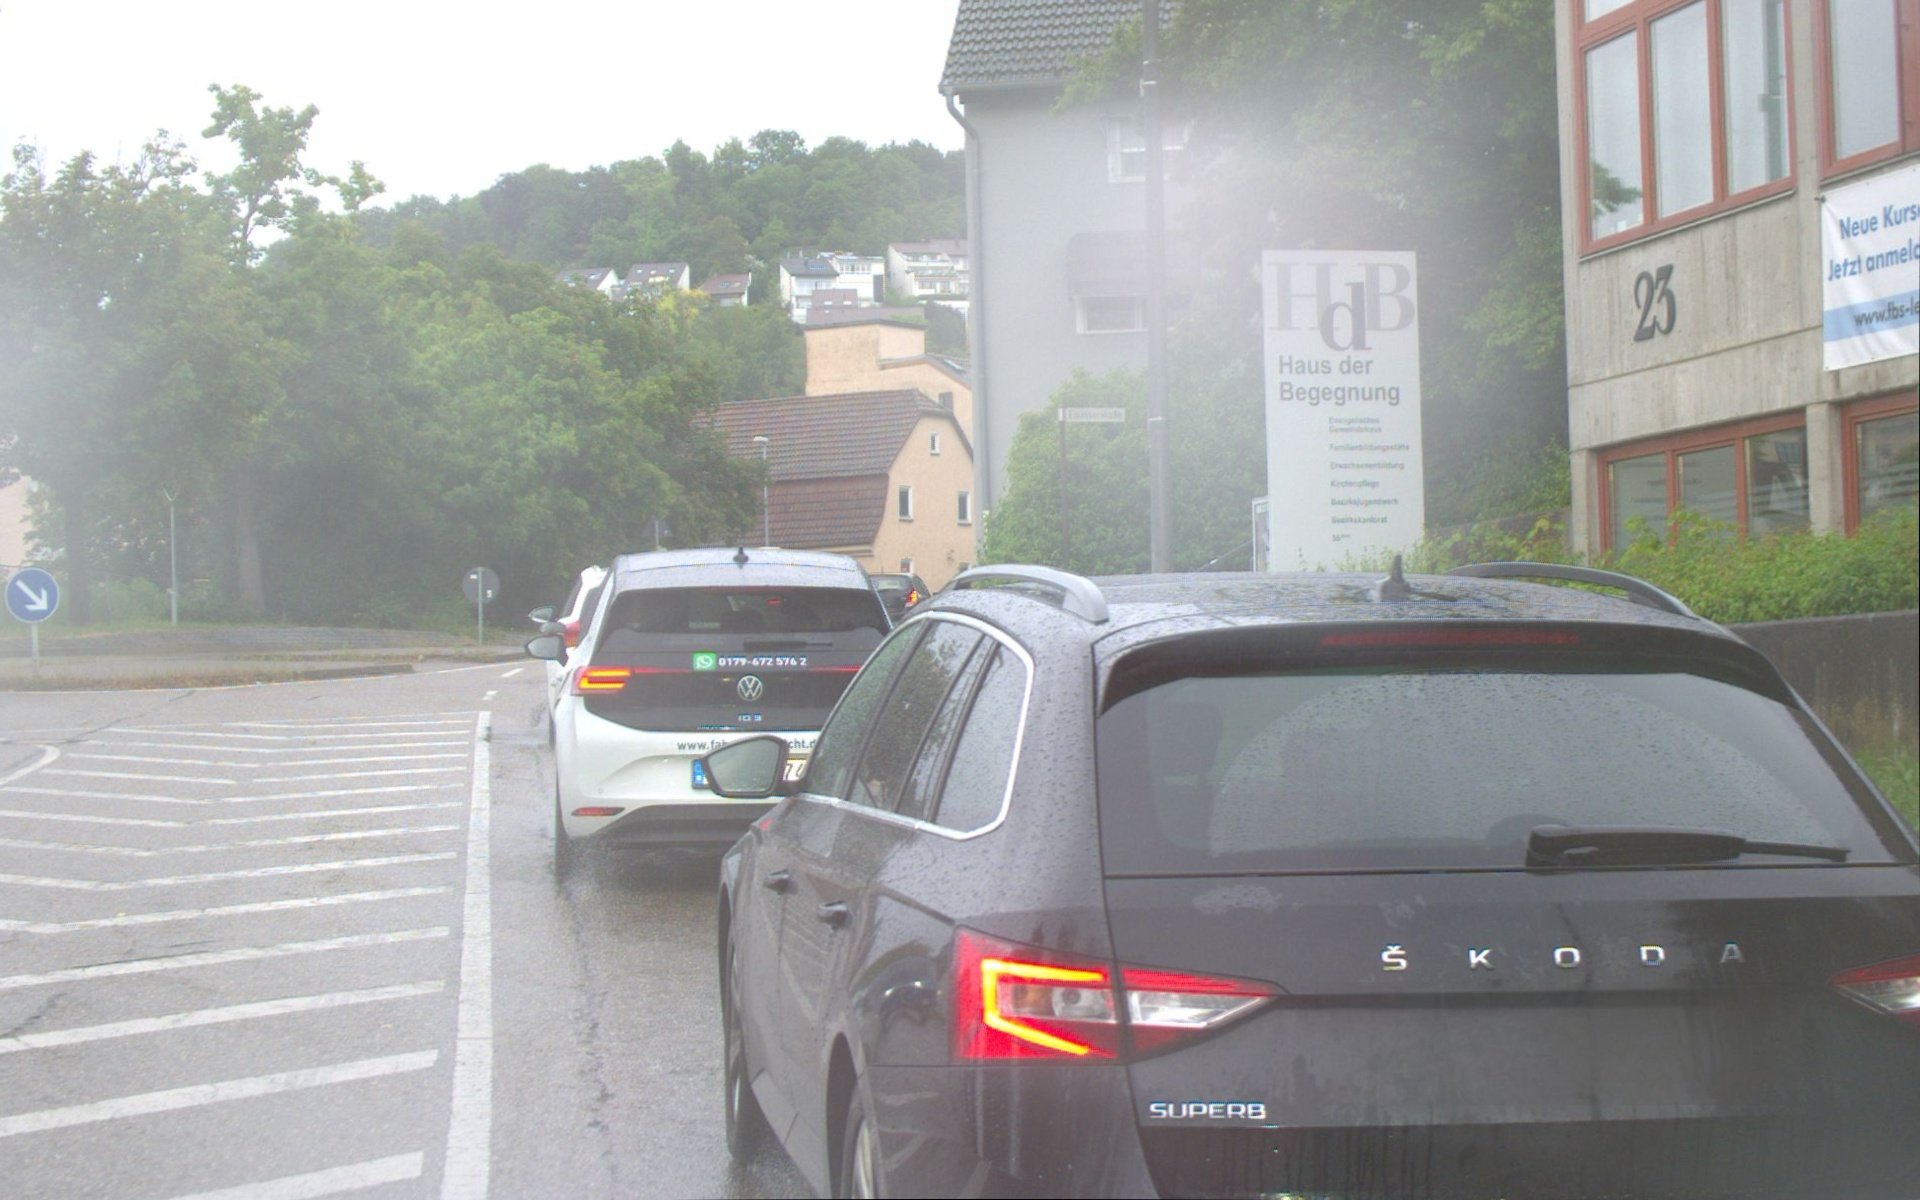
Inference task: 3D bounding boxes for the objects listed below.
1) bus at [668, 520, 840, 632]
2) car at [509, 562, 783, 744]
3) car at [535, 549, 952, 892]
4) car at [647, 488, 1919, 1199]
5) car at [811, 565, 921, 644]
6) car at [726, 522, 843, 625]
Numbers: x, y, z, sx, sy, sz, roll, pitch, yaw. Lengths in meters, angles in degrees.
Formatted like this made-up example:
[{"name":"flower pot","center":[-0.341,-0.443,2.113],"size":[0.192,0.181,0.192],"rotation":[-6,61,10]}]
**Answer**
[{"name":"bus","center":[-5.048,-0.627,85.726],"size":[2.398,2.667,7.044],"rotation":[-1,1,13]},{"name":"car","center":[-2.713,0.423,28.826],"size":[1.847,1.405,4.302],"rotation":[0,0,-11]},{"name":"car","center":[-1.072,0.537,17.159],"size":[1.828,1.495,4.169],"rotation":[0,0,-3]},{"name":"car","center":[0.496,0.650,6.691],"size":[1.953,1.502,4.609],"rotation":[2,0,-8]},{"name":"car","center":[-1.864,0.090,69.256],"size":[1.993,1.448,3.770],"rotation":[-3,0,1]},{"name":"car","center":[-2.680,-0.417,53.246],"size":[1.567,1.525,4.000],"rotation":[0,1,1]}]
